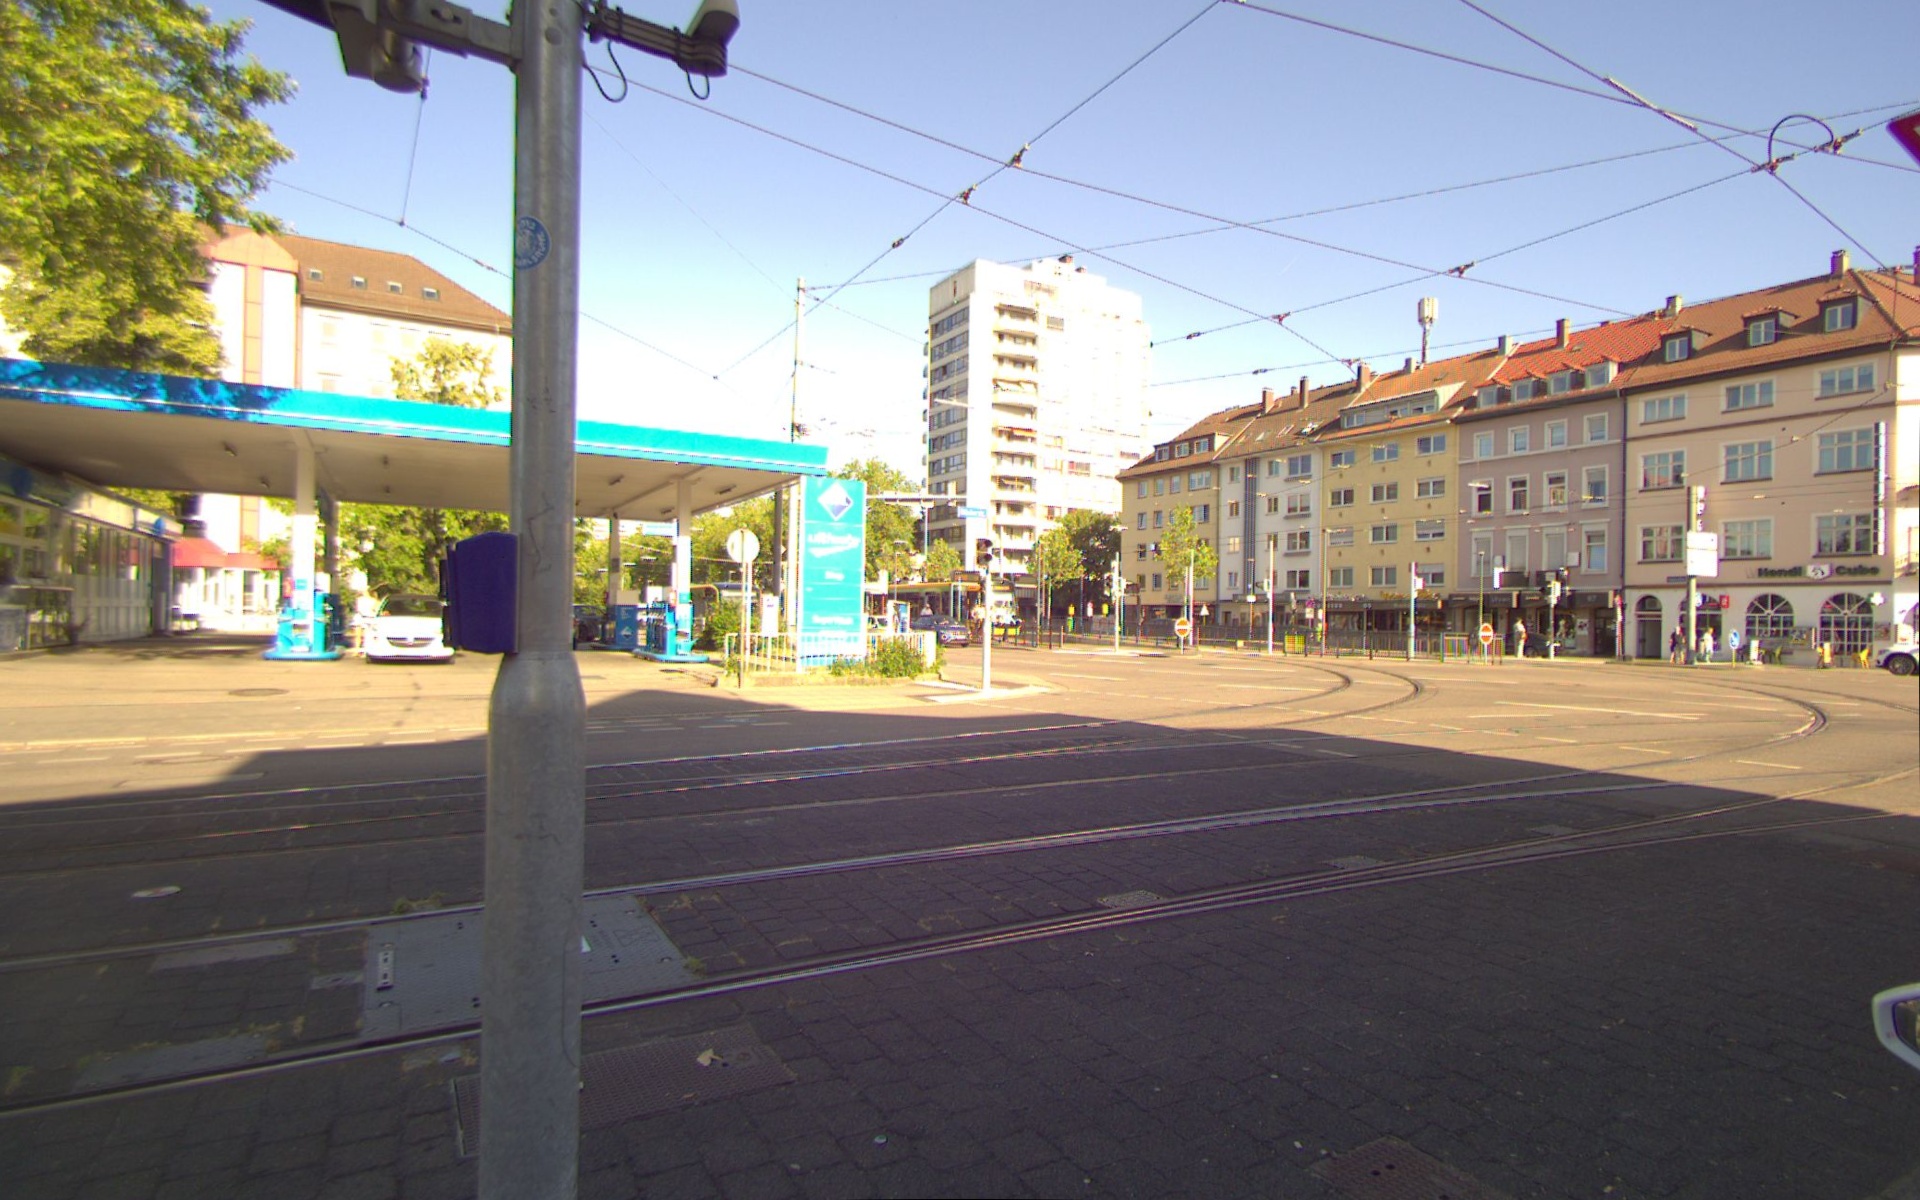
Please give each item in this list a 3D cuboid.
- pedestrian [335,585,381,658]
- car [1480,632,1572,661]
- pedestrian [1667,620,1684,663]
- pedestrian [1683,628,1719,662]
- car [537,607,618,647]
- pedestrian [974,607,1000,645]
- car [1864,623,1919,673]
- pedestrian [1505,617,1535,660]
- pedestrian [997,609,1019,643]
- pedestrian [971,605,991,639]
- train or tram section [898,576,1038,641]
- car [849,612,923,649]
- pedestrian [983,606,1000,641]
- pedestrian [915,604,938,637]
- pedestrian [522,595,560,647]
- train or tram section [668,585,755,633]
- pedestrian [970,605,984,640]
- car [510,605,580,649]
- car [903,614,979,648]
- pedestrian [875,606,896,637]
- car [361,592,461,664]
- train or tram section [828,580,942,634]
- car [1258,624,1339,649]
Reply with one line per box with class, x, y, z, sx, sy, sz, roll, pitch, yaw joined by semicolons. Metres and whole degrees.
pedestrian;-13.886;0.502;23.201;0.801;1.652;0.643;1;-1;-24
car;30.776;2.492;54.713;1.980;1.483;3.962;1;-1;-34
pedestrian;34.212;1.980;48.019;0.498;2.040;0.507;1;-1;-27
pedestrian;35.937;2.187;48.730;1.029;1.612;1.061;1;-1;-28
car;-17.202;1.208;45.379;1.960;1.685;4.001;1;-1;2
pedestrian;1.285;1.263;48.546;0.902;1.826;0.887;1;-1;-33
car;34.185;1.665;34.162;1.979;1.682;4.819;1;-1;-33
pedestrian;24.497;1.691;43.953;0.801;1.842;0.871;1;-1;-29
pedestrian;2.324;1.244;48.473;0.791;1.646;0.706;1;-1;-33
pedestrian;1.089;1.142;52.158;0.773;1.721;0.692;1;-1;-33
train or tram section;0.231;0.513;58.961;3.252;3.459;10.157;1;-1;-33
car;-3.505;1.390;46.803;1.976;1.615;3.970;1;-1;-29
pedestrian;1.559;1.174;49.834;0.549;1.721;0.740;1;-1;-33
pedestrian;-1.877;1.121;56.063;0.902;1.826;0.887;1;-1;-33
pedestrian;-14.889;0.747;35.707;0.896;1.826;0.893;0;-1;34
train or tram section;-15.029;0.446;60.036;2.233;2.627;10.398;2;0;-30
pedestrian;0.873;1.145;51.186;0.491;1.721;0.553;1;-1;-33
car;-13.500;0.861;32.574;1.752;1.332;3.520;1;-1;-28
car;-0.957;1.488;48.345;1.937;1.475;4.077;1;0;-30
pedestrian;-4.494;1.283;60.659;0.902;1.826;0.887;1;-1;-33
car;-12.270;0.604;22.430;1.773;1.461;3.968;2;-1;-30
train or tram section;-5.250;0.515;67.579;3.252;3.335;10.157;1;-1;-33
car;20.487;2.179;60.922;1.977;1.358;4.487;1;-1;-31
